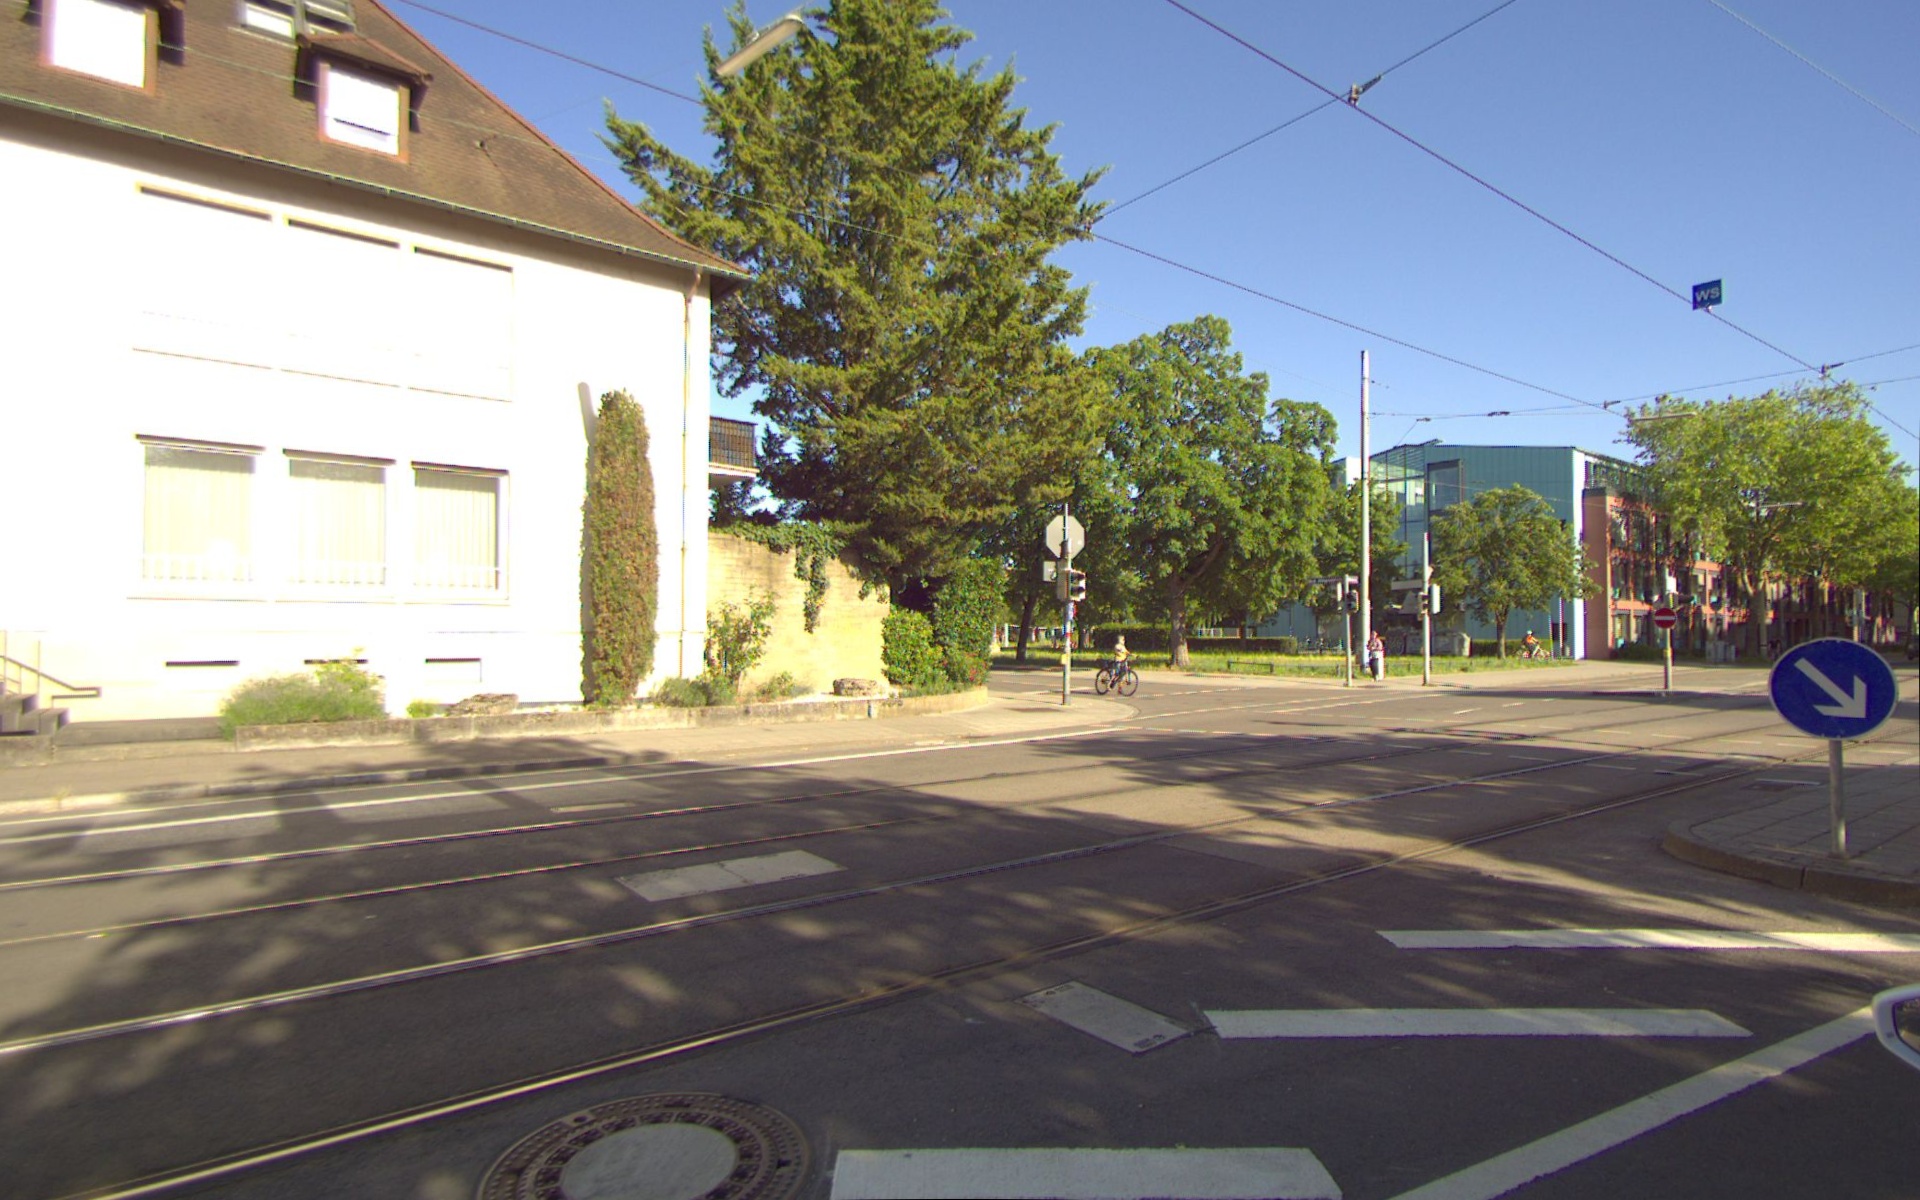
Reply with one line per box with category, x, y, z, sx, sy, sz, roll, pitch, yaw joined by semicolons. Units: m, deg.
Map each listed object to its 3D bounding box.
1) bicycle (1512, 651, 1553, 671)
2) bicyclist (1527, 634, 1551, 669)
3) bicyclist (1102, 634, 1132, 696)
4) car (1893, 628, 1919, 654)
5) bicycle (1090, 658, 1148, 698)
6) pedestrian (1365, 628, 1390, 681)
bicycle;32.419;3.428;56.900;1.879;1.120;0.563;-1;-2;19
bicyclist;32.736;2.908;56.799;1.082;1.909;0.450;-1;-2;19
bicyclist;4.366;1.792;27.962;0.531;1.707;0.676;1;-2;-29
car;70.077;3.016;73.724;4.264;1.839;1.954;2;-3;-42
bicycle;4.395;2.152;27.894;0.531;1.028;1.937;1;-2;-29
pedestrian;13.938;1.799;33.558;0.601;1.712;0.731;2;1;34
